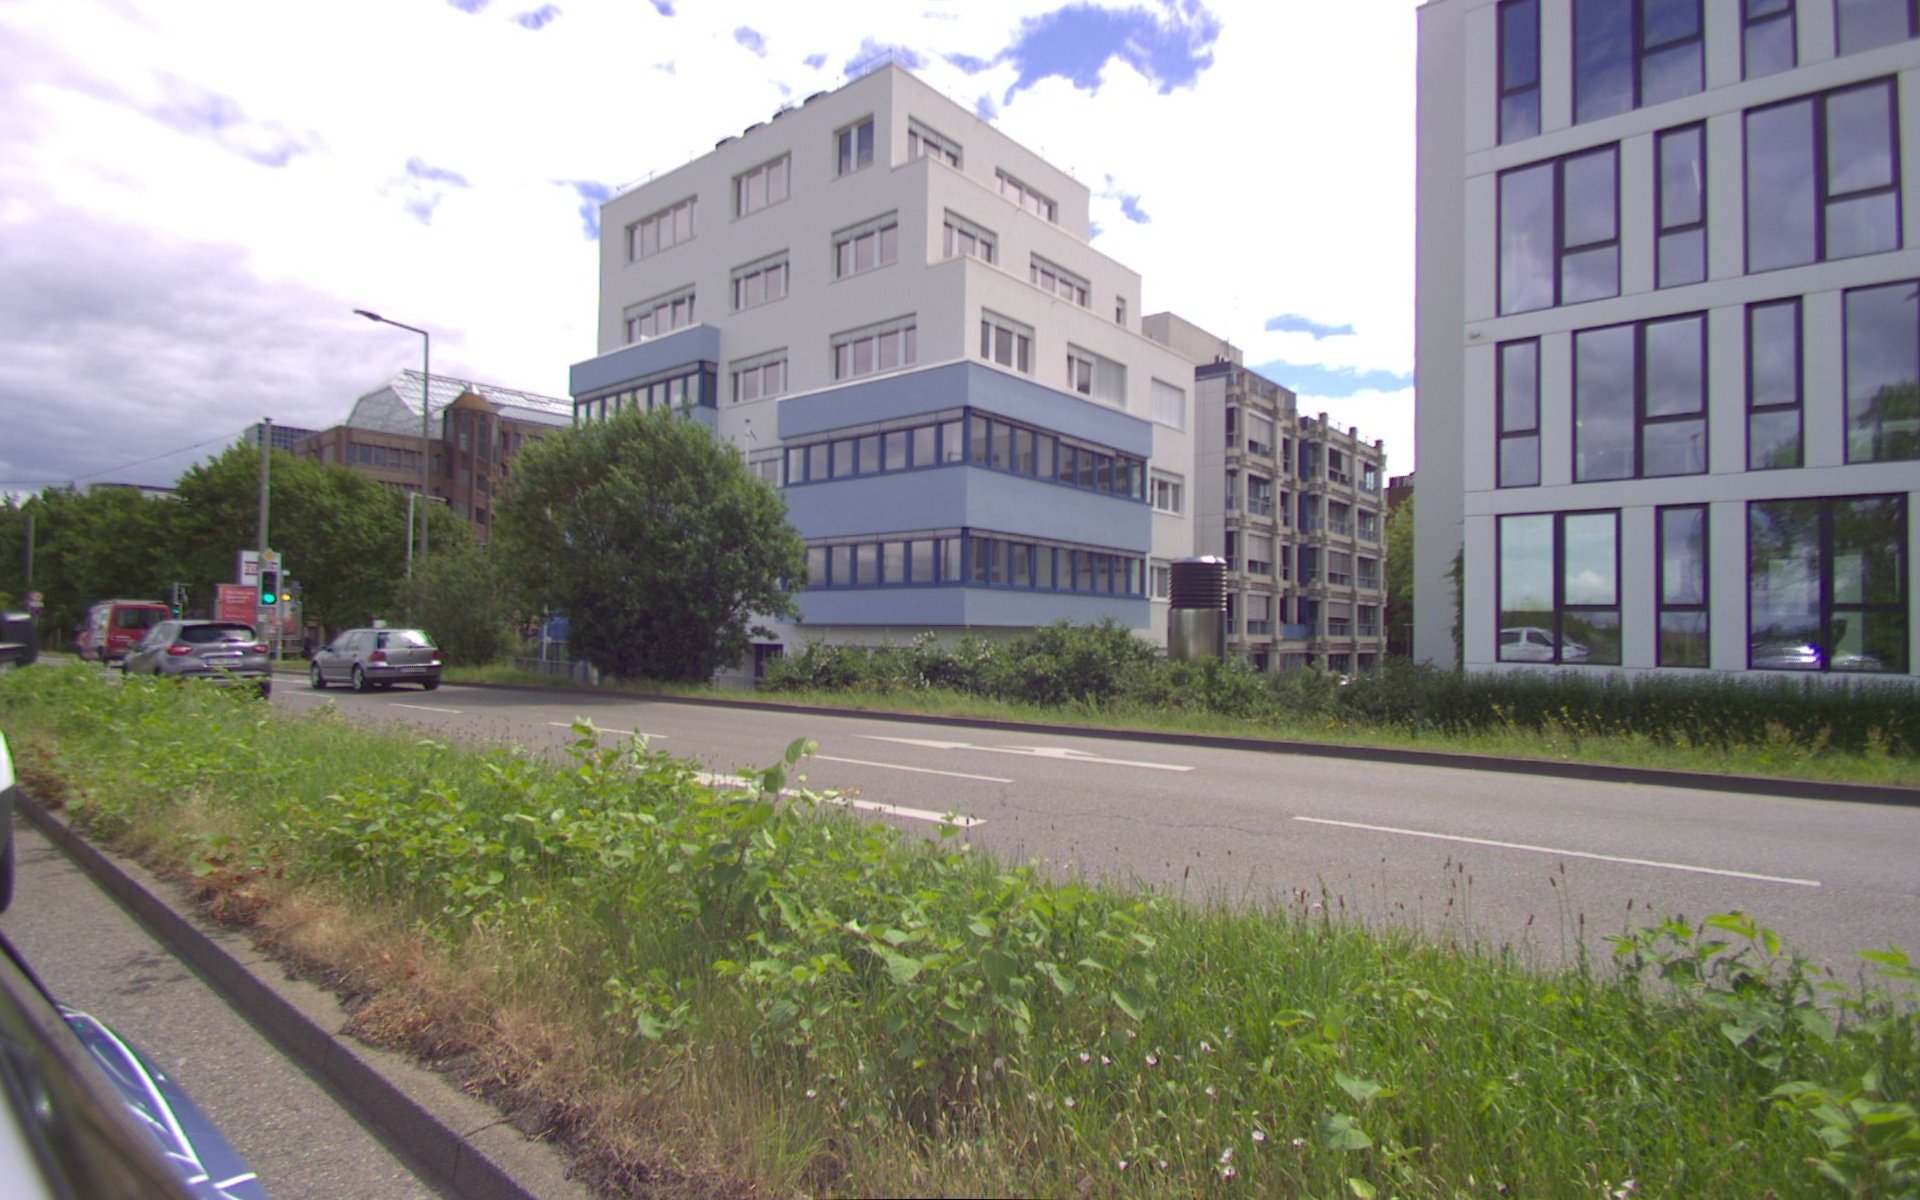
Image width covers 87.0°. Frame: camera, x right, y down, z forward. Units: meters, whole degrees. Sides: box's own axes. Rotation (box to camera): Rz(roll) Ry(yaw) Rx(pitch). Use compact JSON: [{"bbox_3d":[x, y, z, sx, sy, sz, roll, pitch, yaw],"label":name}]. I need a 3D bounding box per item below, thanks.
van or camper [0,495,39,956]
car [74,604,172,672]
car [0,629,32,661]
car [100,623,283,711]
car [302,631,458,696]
[{"bbox_3d":[-7.040,0.576,5.544,5.791,2.029,1.974,-1,-3,38],"label":"van or camper"},{"bbox_3d":[-31.733,1.406,38.306,5.237,2.430,1.973,-1,-2,41],"label":"car"},{"bbox_3d":[-47.190,2.190,49.867,3.998,1.493,1.661,-2,-2,41],"label":"car"},{"bbox_3d":[-14.979,1.229,19.665,3.995,1.528,1.916,-2,-2,39],"label":"car"},{"bbox_3d":[-13.580,1.427,23.627,3.998,1.364,1.973,-2,-2,41],"label":"car"}]
